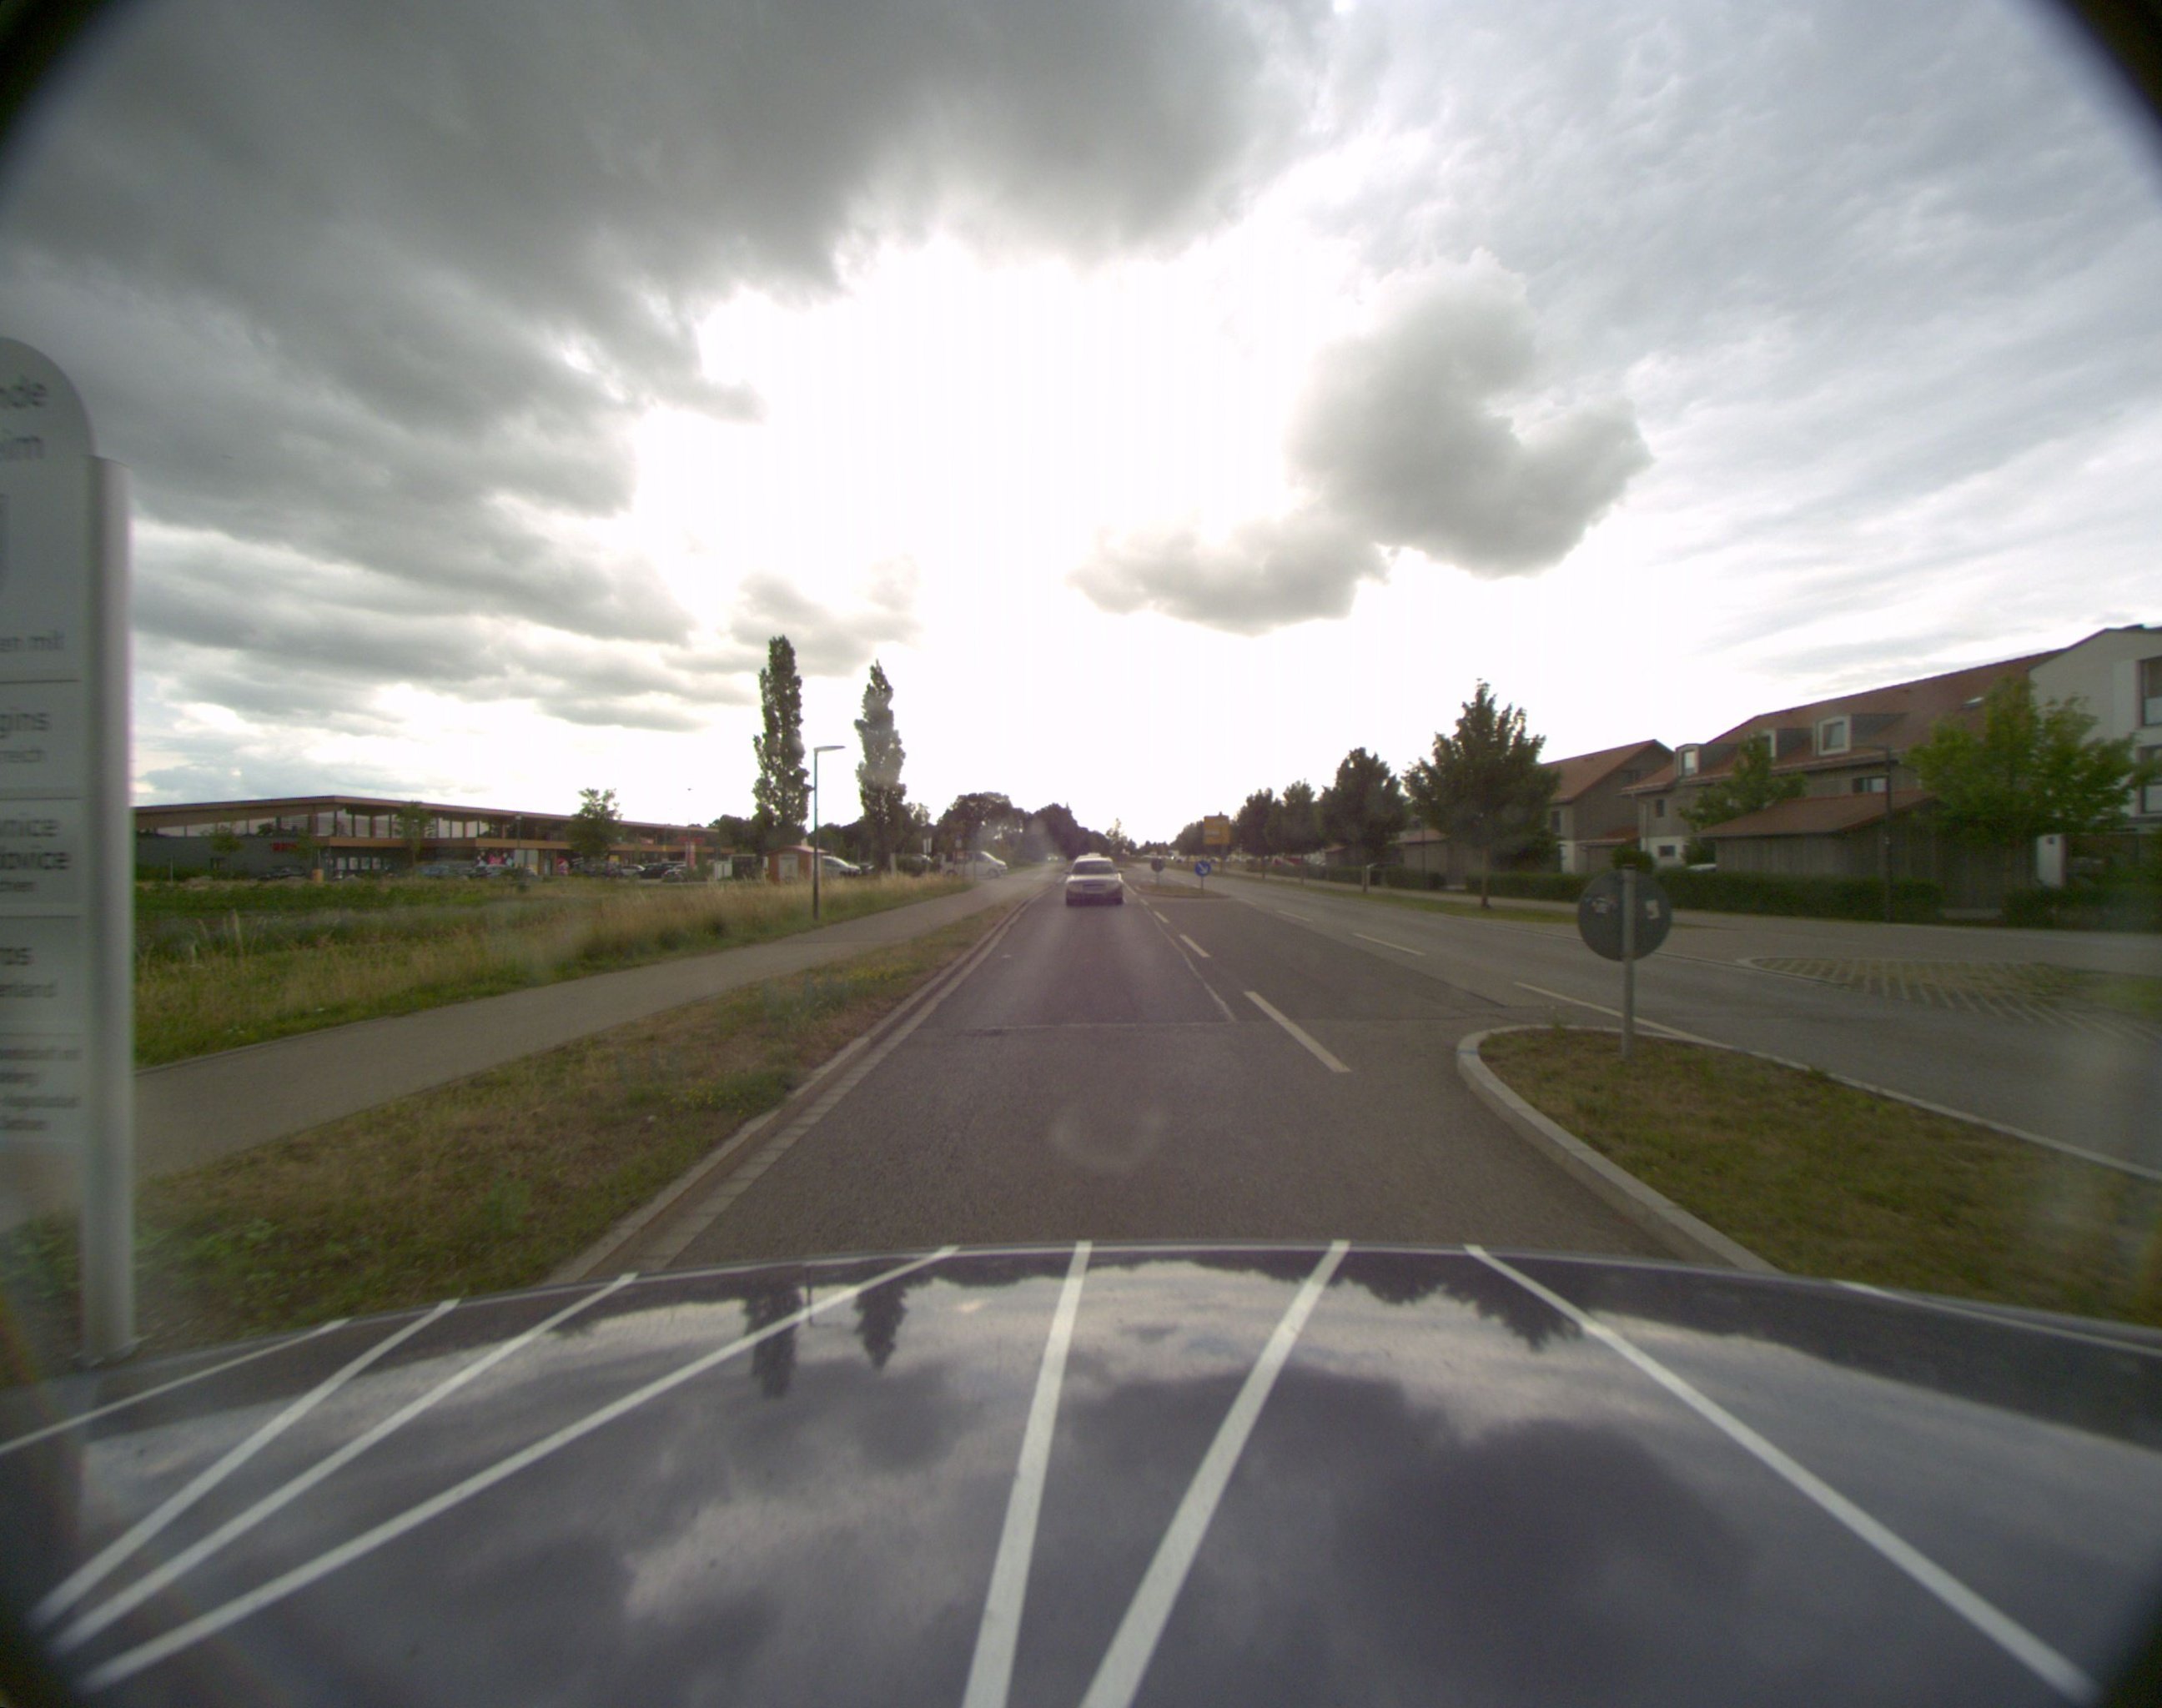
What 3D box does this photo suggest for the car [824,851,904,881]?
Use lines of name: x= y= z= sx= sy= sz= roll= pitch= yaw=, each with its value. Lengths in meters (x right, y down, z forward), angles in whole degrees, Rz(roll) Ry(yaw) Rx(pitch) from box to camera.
car: x=-16.285 y=0.866 z=57.108 sx=5.313 sy=2.002 sz=2.000 roll=-2 pitch=1 yaw=2

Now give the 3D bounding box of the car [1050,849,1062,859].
car: x=-4.895 y=0.027 z=149.303 sx=1.998 sy=2.002 sz=4.000 roll=-1 pitch=0 yaw=1

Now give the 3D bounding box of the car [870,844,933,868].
car: x=-16.988 y=0.190 z=72.300 sx=5.527 sy=2.002 sz=1.999 roll=-2 pitch=1 yaw=-5

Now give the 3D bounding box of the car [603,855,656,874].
car: x=-53.167 y=1.183 z=89.603 sx=4.858 sy=2.002 sz=1.998 roll=-2 pitch=1 yaw=-7

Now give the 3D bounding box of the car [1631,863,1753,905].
car: x=23.375 y=1.144 z=29.148 sx=3.592 sy=1.431 sz=1.301 roll=-2 pitch=1 yaw=1

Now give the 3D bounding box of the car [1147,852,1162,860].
car: x=16.585 y=0.510 z=172.274 sx=2.001 sy=1.772 sz=3.994 roll=-2 pitch=1 yaw=-15

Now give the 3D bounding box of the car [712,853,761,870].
car: x=-46.037 y=0.999 z=101.748 sx=5.527 sy=2.002 sz=1.999 roll=-2 pitch=1 yaw=-5

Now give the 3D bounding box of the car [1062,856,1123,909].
car: x=0.444 y=0.853 z=24.682 sx=1.763 sy=1.410 sz=4.520 roll=-2 pitch=1 yaw=3

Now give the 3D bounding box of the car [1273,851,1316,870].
car: x=25.625 y=0.758 z=91.293 sx=4.568 sy=2.002 sz=2.000 roll=-2 pitch=1 yaw=5

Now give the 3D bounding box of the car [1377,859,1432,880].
car: x=24.664 y=1.161 z=57.973 sx=3.592 sy=1.431 sz=1.301 roll=-2 pitch=1 yaw=1

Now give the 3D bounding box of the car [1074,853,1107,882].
car: x=0.584 y=0.727 z=44.483 sx=1.763 sy=1.495 sz=4.691 roll=-2 pitch=1 yaw=1

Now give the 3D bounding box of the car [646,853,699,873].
car: x=-46.482 y=0.984 z=86.534 sx=4.858 sy=2.002 sz=1.998 roll=-2 pitch=1 yaw=-7

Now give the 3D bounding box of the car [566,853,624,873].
car: x=-53.152 y=0.936 z=83.103 sx=4.858 sy=2.002 sz=1.998 roll=-2 pitch=1 yaw=-7

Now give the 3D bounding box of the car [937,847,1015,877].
car: x=-7.731 y=0.576 z=56.318 sx=5.313 sy=2.002 sz=2.562 roll=-2 pitch=1 yaw=2
